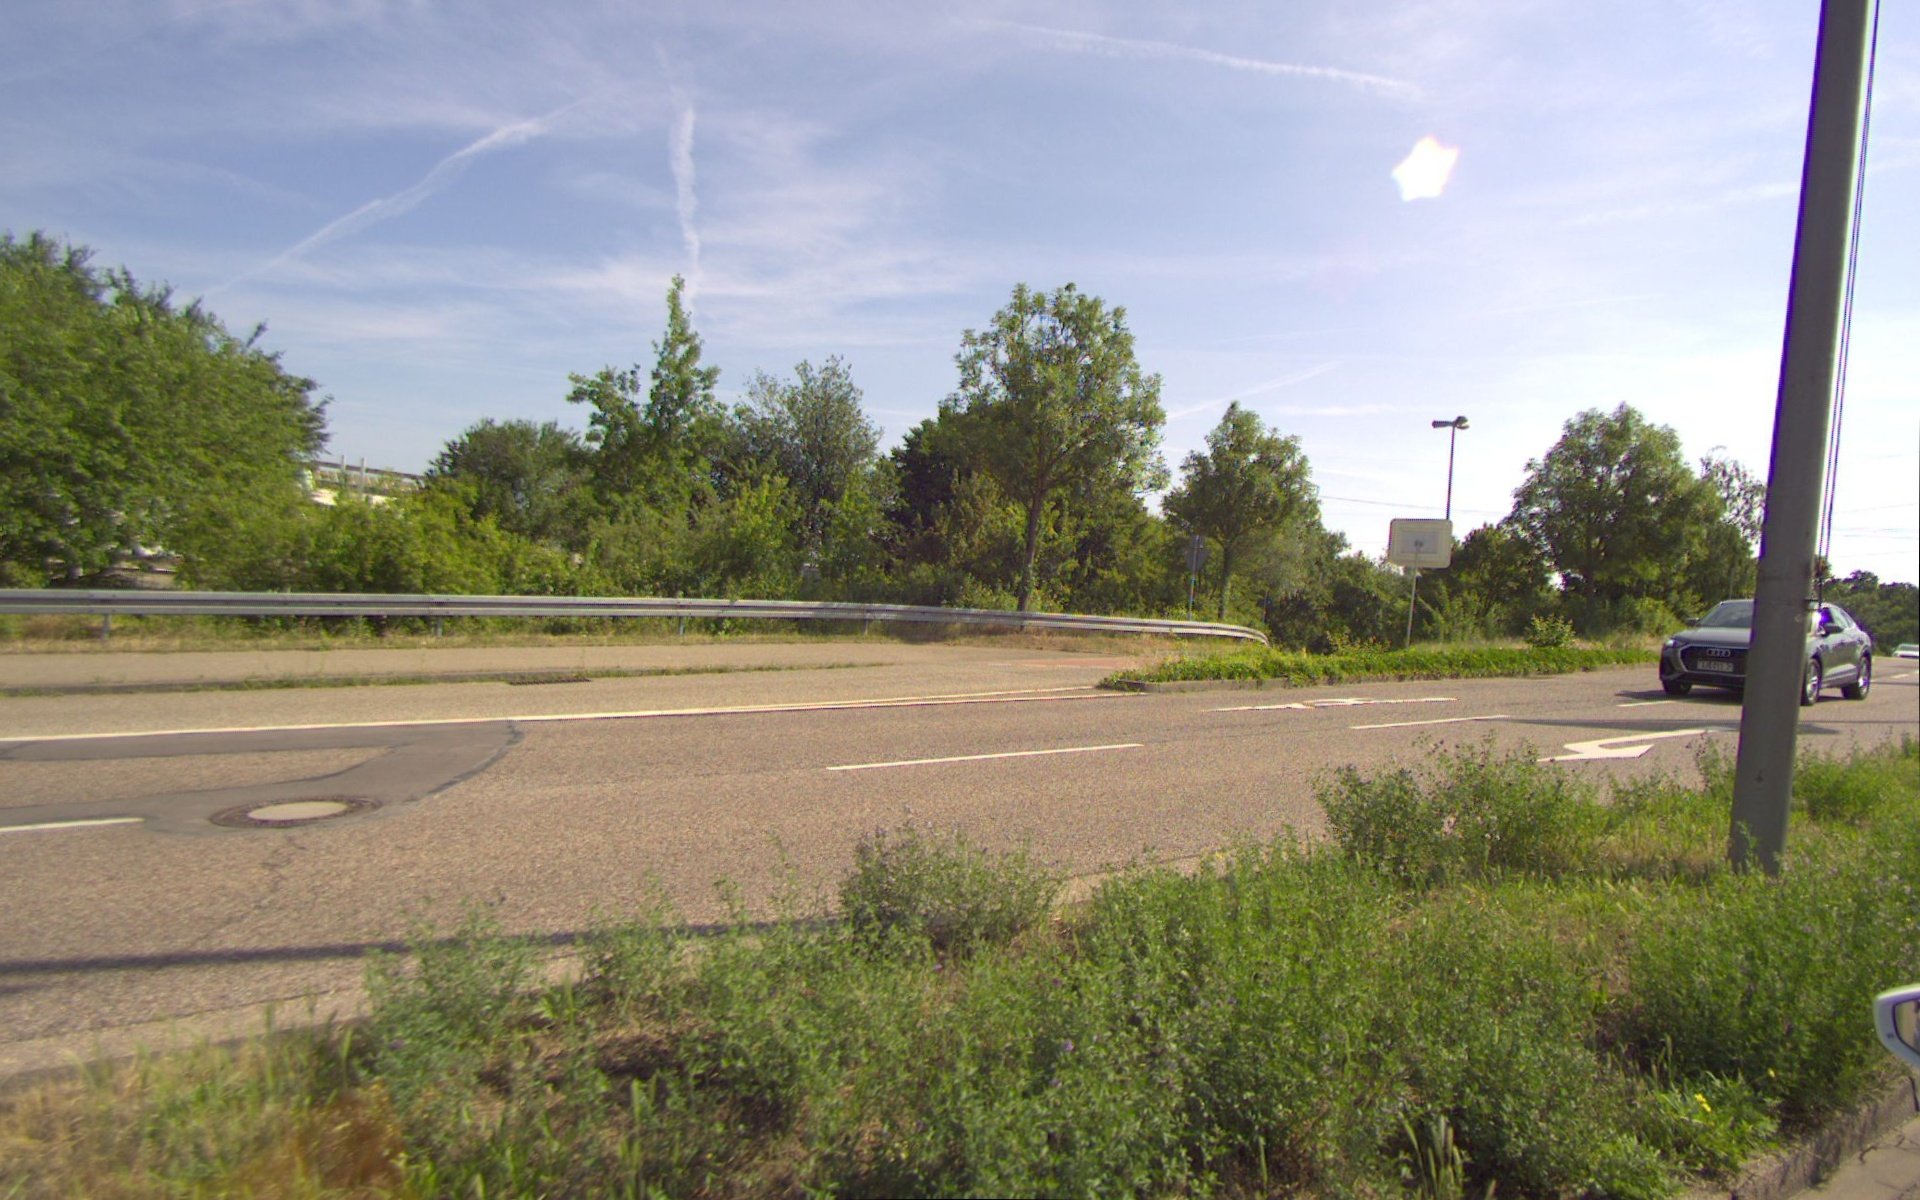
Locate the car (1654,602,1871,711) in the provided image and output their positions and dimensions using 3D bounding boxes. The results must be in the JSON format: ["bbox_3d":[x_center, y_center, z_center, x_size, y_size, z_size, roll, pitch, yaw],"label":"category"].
[{"bbox_3d":[12.739,0.795,15.872,4.221,1.504,1.770,1,0,-38],"label":"car"}]

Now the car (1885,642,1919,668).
[{"bbox_3d":[60.926,3.543,64.604,3.971,1.571,1.780,3,-1,-43],"label":"car"}]
